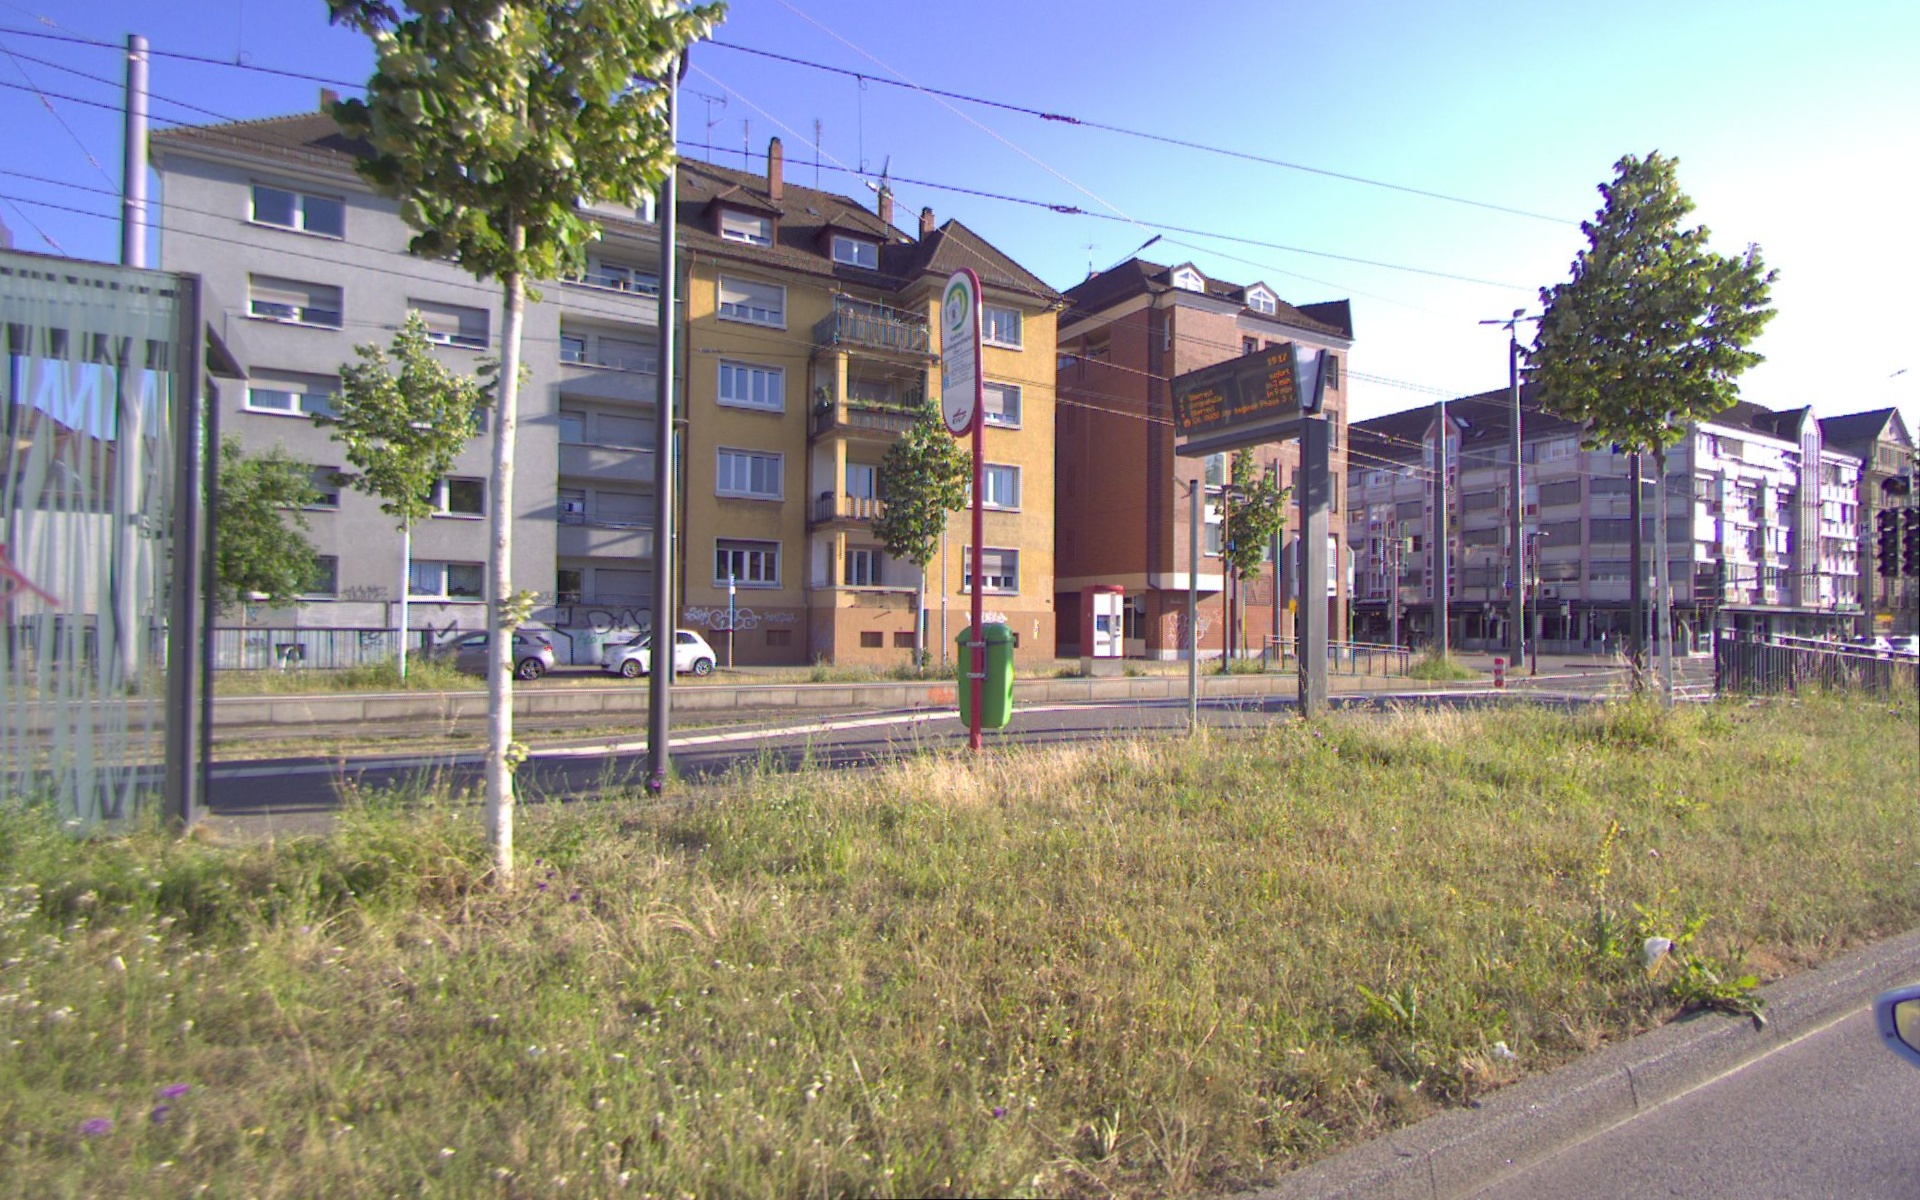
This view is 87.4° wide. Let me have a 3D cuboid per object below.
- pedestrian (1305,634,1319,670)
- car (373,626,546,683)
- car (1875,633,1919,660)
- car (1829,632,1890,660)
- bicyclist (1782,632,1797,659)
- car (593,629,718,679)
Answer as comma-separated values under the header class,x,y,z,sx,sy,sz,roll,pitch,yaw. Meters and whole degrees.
class,x,y,z,sx,sy,sz,roll,pitch,yaw
pedestrian,18.042,2.656,51.543,0.532,1.831,0.502,0,-1,-3
car,-14.546,1.550,29.240,4.381,1.528,1.983,1,-2,-31
car,69.218,3.413,73.677,3.951,1.884,1.985,1,-2,-29
car,62.386,3.186,69.671,3.951,1.884,1.985,1,-2,-29
bicyclist,57.934,3.169,70.163,0.634,1.886,0.590,1,-2,-29
car,-9.733,1.697,32.147,3.513,1.505,1.738,1,-2,-31
